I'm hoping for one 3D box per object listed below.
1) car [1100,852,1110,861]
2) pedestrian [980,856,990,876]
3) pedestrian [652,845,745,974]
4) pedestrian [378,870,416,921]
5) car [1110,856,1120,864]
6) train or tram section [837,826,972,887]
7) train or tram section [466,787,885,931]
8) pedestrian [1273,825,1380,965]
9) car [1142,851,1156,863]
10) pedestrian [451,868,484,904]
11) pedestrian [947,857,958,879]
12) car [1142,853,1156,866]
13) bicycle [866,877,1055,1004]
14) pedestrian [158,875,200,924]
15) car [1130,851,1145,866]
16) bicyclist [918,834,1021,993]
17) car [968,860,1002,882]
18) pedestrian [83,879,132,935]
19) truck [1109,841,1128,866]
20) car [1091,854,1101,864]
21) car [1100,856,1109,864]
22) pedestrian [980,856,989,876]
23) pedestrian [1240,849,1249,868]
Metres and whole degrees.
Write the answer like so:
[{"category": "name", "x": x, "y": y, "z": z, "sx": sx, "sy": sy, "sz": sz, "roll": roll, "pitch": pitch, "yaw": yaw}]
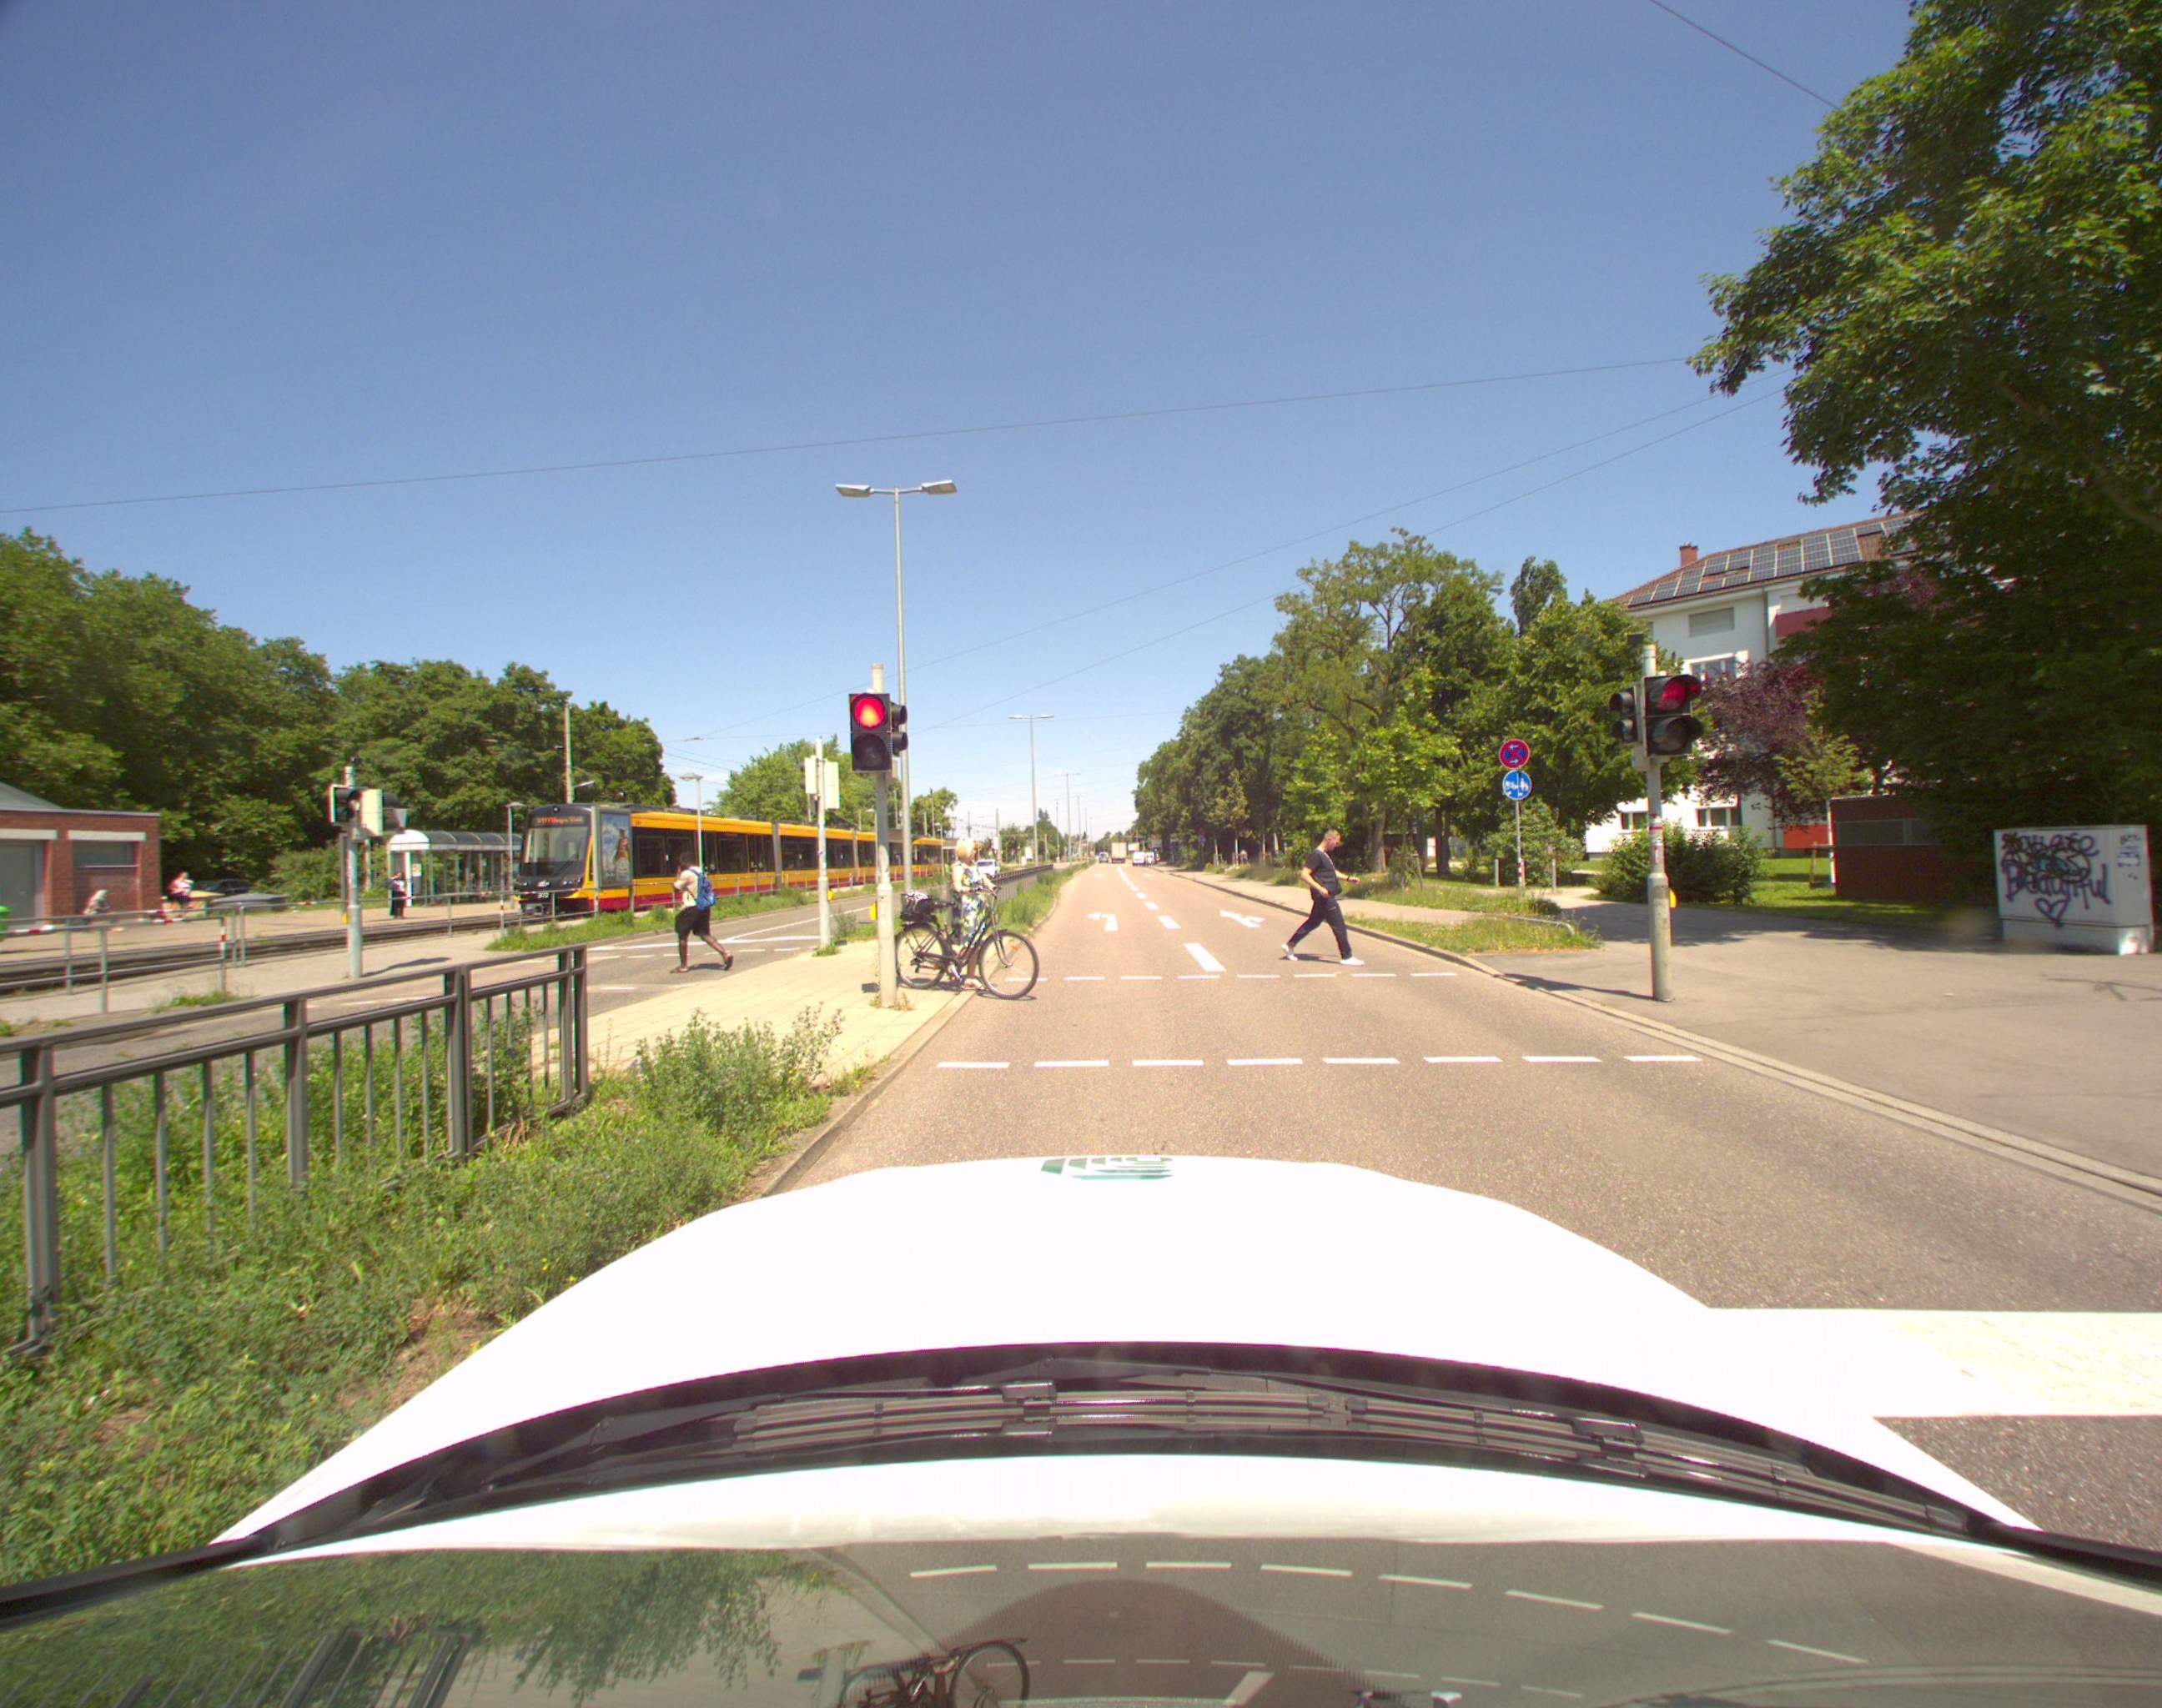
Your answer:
[{"category": "car", "x": 4.878, "y": 0.544, "z": 163.590, "sx": 1.986, "sy": 1.816, "sz": 4.001, "roll": 0, "pitch": -1, "yaw": 2}, {"category": "pedestrian", "x": -9.914, "y": 1.237, "z": 84.073, "sx": 0.812, "sy": 2.013, "sz": 0.939, "roll": -2, "pitch": 0, "yaw": 1}, {"category": "pedestrian", "x": -5.638, "y": 0.797, "z": 12.052, "sx": 0.837, "sy": 1.777, "sz": 0.720, "roll": -5, "pitch": 2, "yaw": 1}, {"category": "pedestrian", "x": -21.543, "y": 1.294, "z": 25.669, "sx": 0.635, "sy": 1.555, "sz": 0.691, "roll": -2, "pitch": 0, "yaw": -11}, {"category": "car", "x": 6.481, "y": 1.135, "z": 153.696, "sx": 1.804, "sy": 1.464, "sz": 4.002, "roll": -2, "pitch": 0, "yaw": 2}, {"category": "train or tram section", "x": -13.453, "y": 0.175, "z": 68.288, "sx": 2.920, "sy": 3.789, "sz": 33.100, "roll": -2, "pitch": 0, "yaw": 2}, {"category": "train or tram section", "x": -14.475, "y": 0.137, "z": 36.808, "sx": 2.946, "sy": 3.749, "sz": 30.044, "roll": -2, "pitch": 0, "yaw": 2}, {"category": "pedestrian", "x": 3.325, "y": 0.534, "z": 11.023, "sx": 1.173, "sy": 1.778, "sz": 0.845, "roll": -2, "pitch": -2, "yaw": 32}, {"category": "car", "x": 9.903, "y": 0.453, "z": 118.769, "sx": 1.773, "sy": 1.668, "sz": 4.002, "roll": -2, "pitch": 0, "yaw": 2}, {"category": "pedestrian", "x": -26.284, "y": 1.375, "z": 34.902, "sx": 0.836, "sy": 1.511, "sz": 0.723, "roll": -2, "pitch": 0, "yaw": 12}, {"category": "pedestrian", "x": -10.982, "y": 1.199, "z": 69.736, "sx": 0.783, "sy": 1.868, "sz": 0.818, "roll": -2, "pitch": 0, "yaw": 1}, {"category": "car", "x": 9.381, "y": 0.712, "z": 112.428, "sx": 1.773, "sy": 1.668, "sz": 4.002, "roll": -2, "pitch": 0, "yaw": 2}, {"category": "bicycle", "x": -1.293, "y": 0.878, "z": 8.667, "sx": 1.941, "sy": 1.161, "sz": 0.544, "roll": 2, "pitch": 2, "yaw": 19}, {"category": "pedestrian", "x": -27.591, "y": 1.376, "z": 24.910, "sx": 0.634, "sy": 1.456, "sz": 0.585, "roll": -2, "pitch": 0, "yaw": 10}, {"category": "car", "x": 7.344, "y": 0.555, "z": 105.651, "sx": 1.773, "sy": 1.903, "sz": 4.002, "roll": -2, "pitch": 0, "yaw": 2}, {"category": "bicyclist", "x": -1.234, "y": 0.624, "z": 9.036, "sx": 0.949, "sy": 1.666, "sz": 0.583, "roll": 1, "pitch": 2, "yaw": 19}, {"category": "car", "x": -6.883, "y": 1.195, "z": 58.516, "sx": 1.838, "sy": 1.494, "sz": 3.793, "roll": -2, "pitch": 0, "yaw": 2}, {"category": "pedestrian", "x": -26.767, "y": 1.444, "z": 22.390, "sx": 0.636, "sy": 1.480, "sz": 0.570, "roll": -2, "pitch": 0, "yaw": 1}, {"category": "truck", "x": 6.770, "y": -0.091, "z": 146.200, "sx": 3.193, "sy": 4.359, "sz": 6.563, "roll": -2, "pitch": 0, "yaw": 2}, {"category": "car", "x": 3.319, "y": 1.085, "z": 175.339, "sx": 1.986, "sy": 2.013, "sz": 4.002, "roll": -2, "pitch": 0, "yaw": 2}, {"category": "car", "x": 4.442, "y": 1.125, "z": 153.862, "sx": 1.804, "sy": 1.464, "sz": 4.002, "roll": -2, "pitch": 0, "yaw": 2}, {"category": "pedestrian", "x": -10.134, "y": 1.249, "z": 85.372, "sx": 0.812, "sy": 2.013, "sz": 0.939, "roll": -2, "pitch": 0, "yaw": 1}, {"category": "pedestrian", "x": 12.205, "y": 0.323, "z": 60.835, "sx": 0.600, "sy": 1.438, "sz": 0.557, "roll": -2, "pitch": 0, "yaw": 8}]
